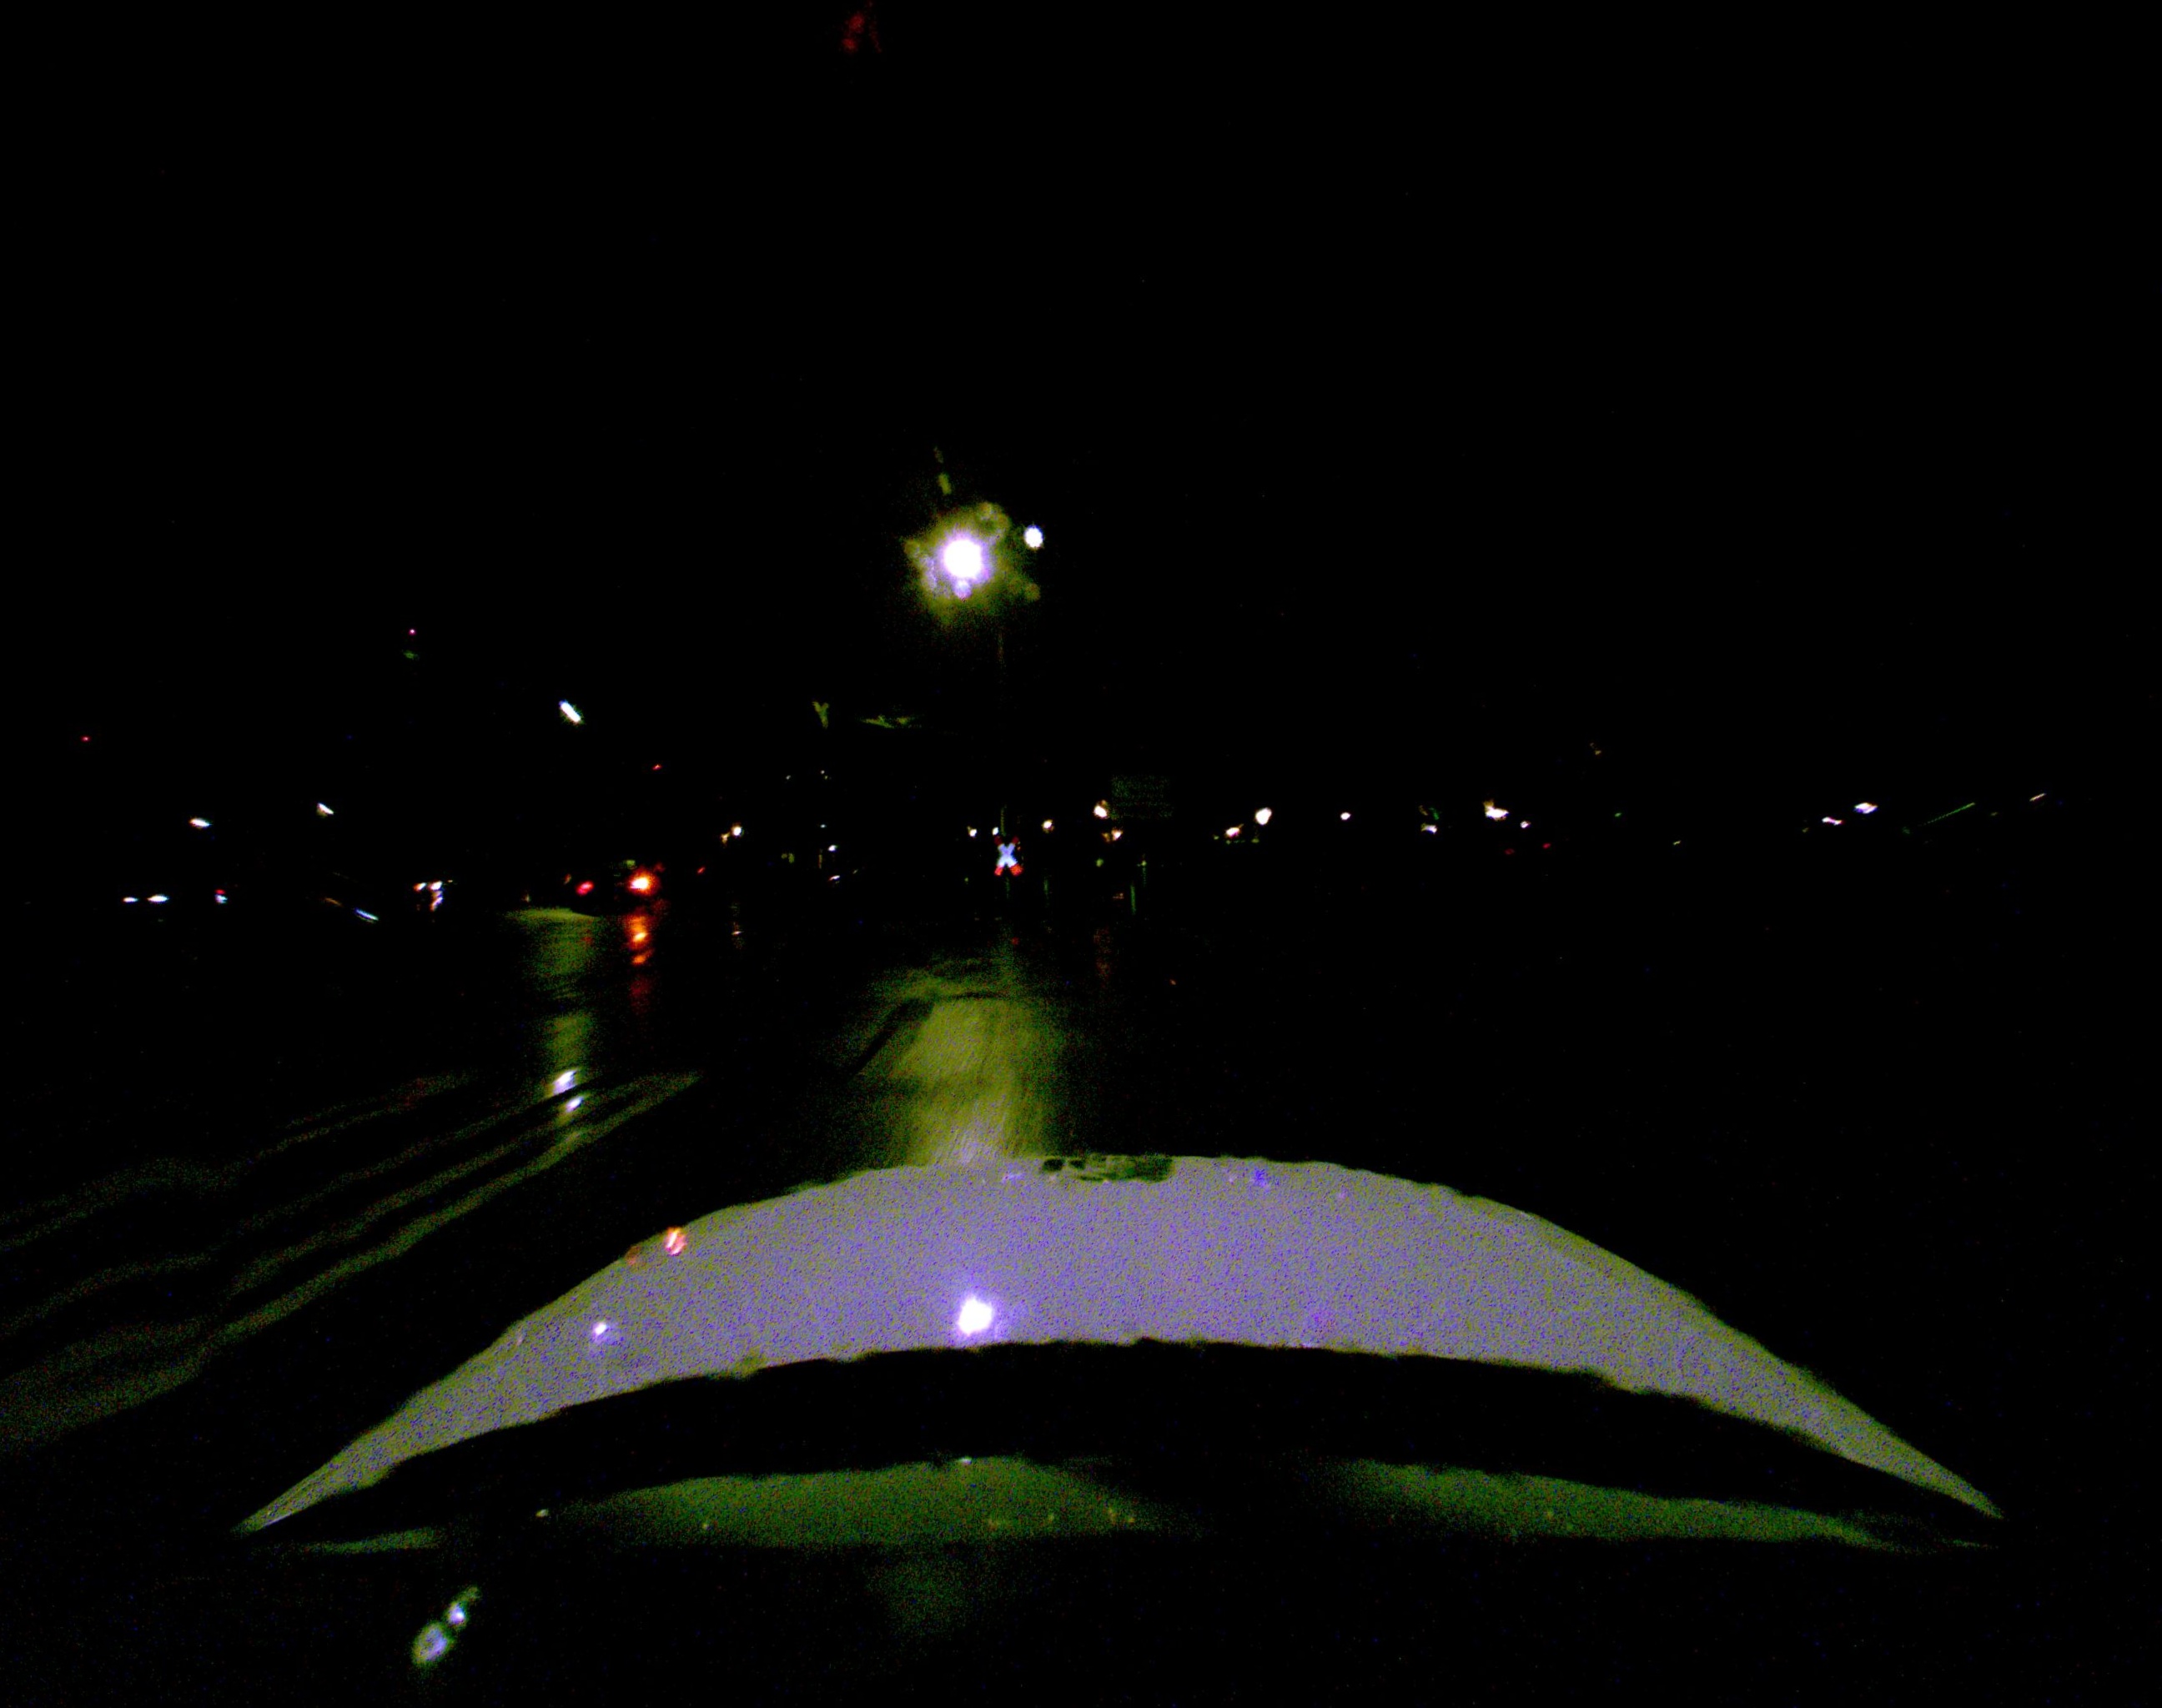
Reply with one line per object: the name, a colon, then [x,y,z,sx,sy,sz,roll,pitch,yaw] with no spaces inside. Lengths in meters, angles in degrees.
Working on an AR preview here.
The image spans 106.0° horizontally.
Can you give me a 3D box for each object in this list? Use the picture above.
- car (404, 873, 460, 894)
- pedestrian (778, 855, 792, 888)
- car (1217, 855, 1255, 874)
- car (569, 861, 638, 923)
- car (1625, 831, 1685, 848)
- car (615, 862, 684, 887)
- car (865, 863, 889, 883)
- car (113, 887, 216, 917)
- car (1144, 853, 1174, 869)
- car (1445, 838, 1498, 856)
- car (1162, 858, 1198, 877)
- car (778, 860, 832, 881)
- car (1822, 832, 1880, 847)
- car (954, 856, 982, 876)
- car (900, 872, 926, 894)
car: [-59.184,2.646,74.411,1.869,1.758,4.385,-1,-1,-5]
pedestrian: [-17.530,1.048,48.192,0.656,1.902,0.722,0,-1,-32]
car: [13.196,0.895,69.680,1.719,1.536,3.892,-1,-1,-15]
car: [-17.279,1.321,29.595,2.006,2.014,4.514,0,-1,-29]
car: [57.998,-1.432,82.407,1.719,1.536,4.970,-1,-1,-14]
car: [-31.666,1.487,59.854,3.982,1.684,1.914,-1,-1,-6]
car: [-15.652,1.451,62.573,1.719,1.497,3.892,-1,-1,-15]
car: [-56.555,2.945,50.342,1.850,1.640,3.894,-1,-1,3]
car: [7.650,0.712,80.309,1.719,1.536,3.892,-1,-1,-15]
car: [36.612,-0.624,76.471,1.719,1.536,4.970,-1,-1,-14]
car: [8.313,1.177,68.684,1.719,1.536,3.892,-1,-1,-15]
car: [-22.705,1.344,67.094,4.059,1.682,1.784,-1,-1,-13]
car: [79.871,-1.503,84.536,1.719,1.374,4.128,-1,-1,-15]
car: [-8.940,0.983,64.041,1.719,1.497,3.892,-1,-1,-15]
car: [-12.933,2.276,62.583,1.719,1.497,3.891,-2,-4,-15]
